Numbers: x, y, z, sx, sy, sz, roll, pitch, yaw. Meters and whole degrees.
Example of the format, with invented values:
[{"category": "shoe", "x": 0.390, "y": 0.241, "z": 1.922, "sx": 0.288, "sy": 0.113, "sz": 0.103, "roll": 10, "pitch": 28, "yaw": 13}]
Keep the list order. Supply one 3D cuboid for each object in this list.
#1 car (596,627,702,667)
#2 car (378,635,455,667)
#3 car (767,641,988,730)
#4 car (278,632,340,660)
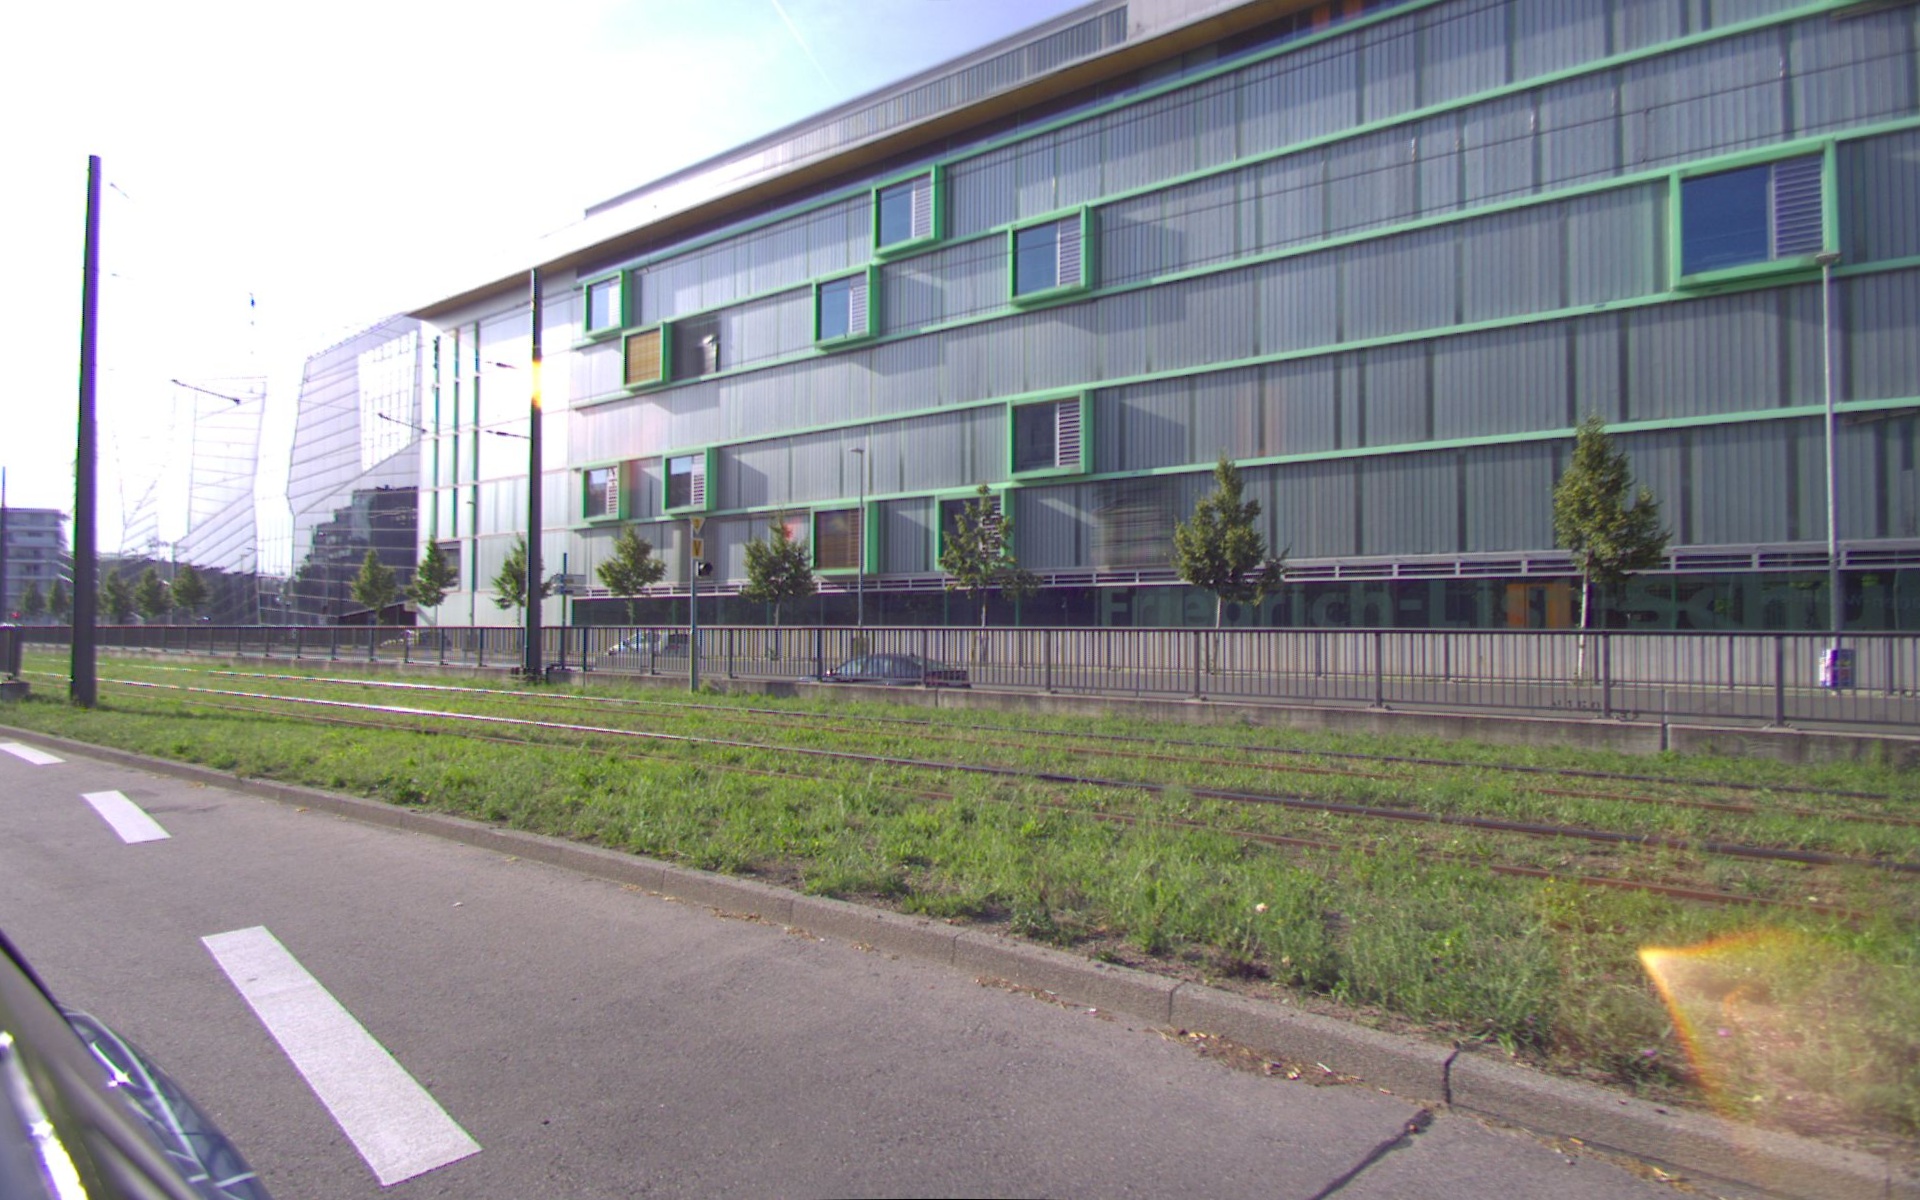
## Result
[{"category": "car", "x": -11.765, "y": 1.744, "z": 38.192, "sx": 4.176, "sy": 1.433, "sz": 1.645, "roll": -1, "pitch": -2, "yaw": 36}, {"category": "car", "x": -26.274, "y": 2.433, "z": 48.868, "sx": 4.020, "sy": 1.498, "sz": 1.754, "roll": -2, "pitch": -2, "yaw": 37}, {"category": "car", "x": -1.887, "y": 1.790, "z": 22.321, "sx": 4.716, "sy": 1.700, "sz": 1.976, "roll": -1, "pitch": -2, "yaw": 35}, {"category": "car", "x": -38.670, "y": 2.700, "z": 60.096, "sx": 4.020, "sy": 1.619, "sz": 1.754, "roll": -2, "pitch": -2, "yaw": 36}]
